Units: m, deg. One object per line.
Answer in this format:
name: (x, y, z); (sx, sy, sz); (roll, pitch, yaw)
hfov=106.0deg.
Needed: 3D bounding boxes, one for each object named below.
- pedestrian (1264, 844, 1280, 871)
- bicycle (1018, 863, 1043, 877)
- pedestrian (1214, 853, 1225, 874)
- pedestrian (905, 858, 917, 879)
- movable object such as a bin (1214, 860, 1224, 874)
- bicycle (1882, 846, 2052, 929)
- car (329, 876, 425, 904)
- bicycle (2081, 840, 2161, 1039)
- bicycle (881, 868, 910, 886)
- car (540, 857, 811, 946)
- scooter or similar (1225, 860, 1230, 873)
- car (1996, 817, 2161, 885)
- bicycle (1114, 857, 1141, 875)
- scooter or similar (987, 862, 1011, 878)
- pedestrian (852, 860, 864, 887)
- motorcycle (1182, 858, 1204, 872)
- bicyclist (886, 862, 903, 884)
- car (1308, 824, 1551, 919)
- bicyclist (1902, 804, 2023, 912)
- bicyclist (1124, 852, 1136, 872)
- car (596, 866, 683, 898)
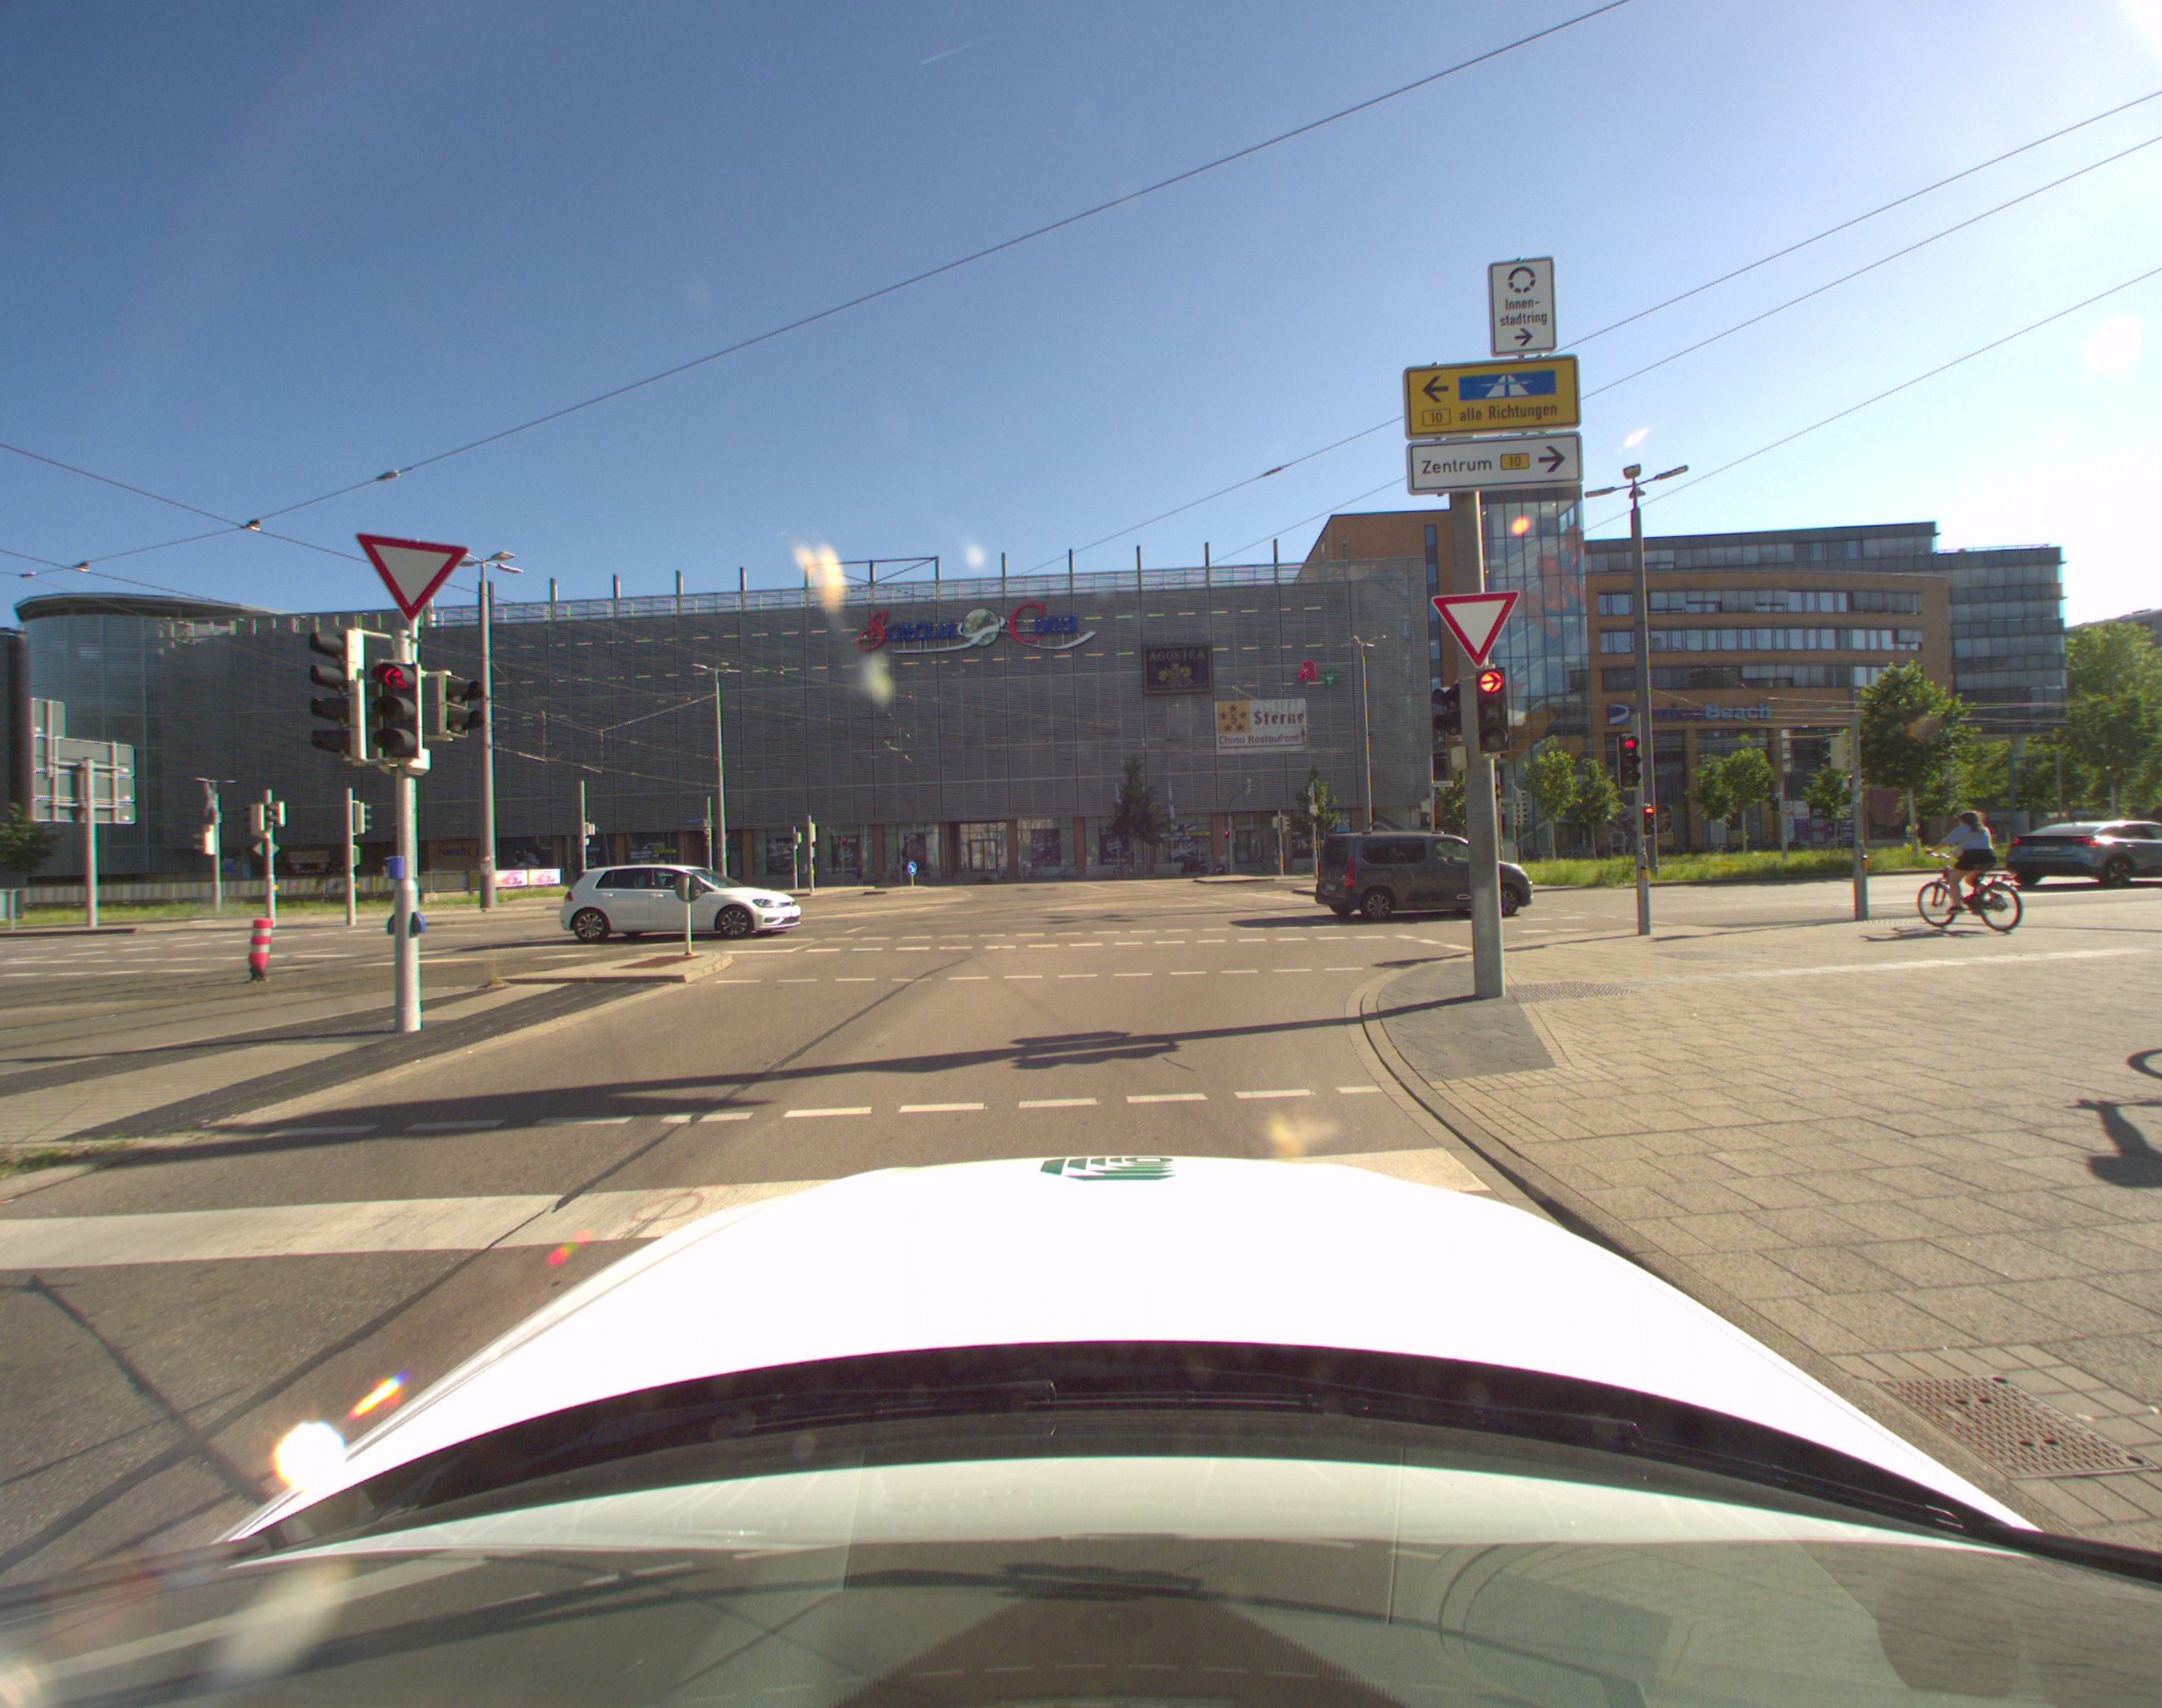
pedestrian: (13.897, 0.271, 59.228); (0.945, 1.829, 0.847); (-3, -4, 7)
bicycle: (-3.779, 1.169, 60.797); (1.815, 0.989, 0.556); (-2, 1, -8)
pedestrian: (9.407, 0.626, 55.209); (0.650, 1.414, 0.853); (-1, -1, 12)
pedestrian: (-12.916, 1.112, 61.867); (0.654, 1.601, 0.597); (-1, -1, 20)
movable object such as a bin: (9.273, 0.877, 54.746); (0.608, 0.904, 0.972); (-1, -1, 12)
bicycle: (12.378, 0.458, 11.467); (0.662, 1.072, 1.826); (-1, -1, 12)
car: (-43.934, 2.224, 50.873); (4.274, 1.584, 1.841); (2, -1, 1)
bicycle: (6.659, 0.511, 4.249); (0.631, 1.197, 2.162); (-2, 0, 14)
bicycle: (-12.583, 1.581, 55.317); (0.562, 1.086, 1.874); (-1, 2, 45)
car: (-7.744, 0.864, 15.904); (4.273, 1.472, 1.863); (-2, 0, -3)
scooter or similar: (9.922, 0.864, 55.014); (0.293, 0.873, 1.007); (-1, -1, 12)
car: (24.636, -0.088, 19.405); (4.261, 1.514, 1.705); (-1, 0, -8)
bicycle: (3.355, 0.856, 58.434); (1.850, 1.217, 0.569); (-2, 1, 1)
scooter or similar: (-6.182, 1.199, 61.238); (1.790, 1.066, 0.611); (-2, 1, -6)
pedestrian: (-15.201, 1.306, 55.469); (0.695, 1.797, 0.727); (-3, 0, -14)
motorcycle: (8.314, 0.826, 60.602); (1.630, 1.004, 0.448); (0, 0, 8)
bicyclist: (-12.627, 1.270, 55.245); (0.667, 1.427, 0.855); (-1, 2, 45)
car: (7.284, 0.336, 17.231); (4.453, 1.791, 1.705); (-2, 0, -7)
bicyclist: (12.339, 0.070, 11.434); (0.662, 1.436, 0.943); (-2, -3, 12)
bicyclist: (3.515, 0.557, 58.427); (0.750, 1.386, 0.566); (-2, 1, 1)
car: (-27.067, 1.693, 49.996); (4.311, 1.863, 1.841); (-1, -1, 1)
